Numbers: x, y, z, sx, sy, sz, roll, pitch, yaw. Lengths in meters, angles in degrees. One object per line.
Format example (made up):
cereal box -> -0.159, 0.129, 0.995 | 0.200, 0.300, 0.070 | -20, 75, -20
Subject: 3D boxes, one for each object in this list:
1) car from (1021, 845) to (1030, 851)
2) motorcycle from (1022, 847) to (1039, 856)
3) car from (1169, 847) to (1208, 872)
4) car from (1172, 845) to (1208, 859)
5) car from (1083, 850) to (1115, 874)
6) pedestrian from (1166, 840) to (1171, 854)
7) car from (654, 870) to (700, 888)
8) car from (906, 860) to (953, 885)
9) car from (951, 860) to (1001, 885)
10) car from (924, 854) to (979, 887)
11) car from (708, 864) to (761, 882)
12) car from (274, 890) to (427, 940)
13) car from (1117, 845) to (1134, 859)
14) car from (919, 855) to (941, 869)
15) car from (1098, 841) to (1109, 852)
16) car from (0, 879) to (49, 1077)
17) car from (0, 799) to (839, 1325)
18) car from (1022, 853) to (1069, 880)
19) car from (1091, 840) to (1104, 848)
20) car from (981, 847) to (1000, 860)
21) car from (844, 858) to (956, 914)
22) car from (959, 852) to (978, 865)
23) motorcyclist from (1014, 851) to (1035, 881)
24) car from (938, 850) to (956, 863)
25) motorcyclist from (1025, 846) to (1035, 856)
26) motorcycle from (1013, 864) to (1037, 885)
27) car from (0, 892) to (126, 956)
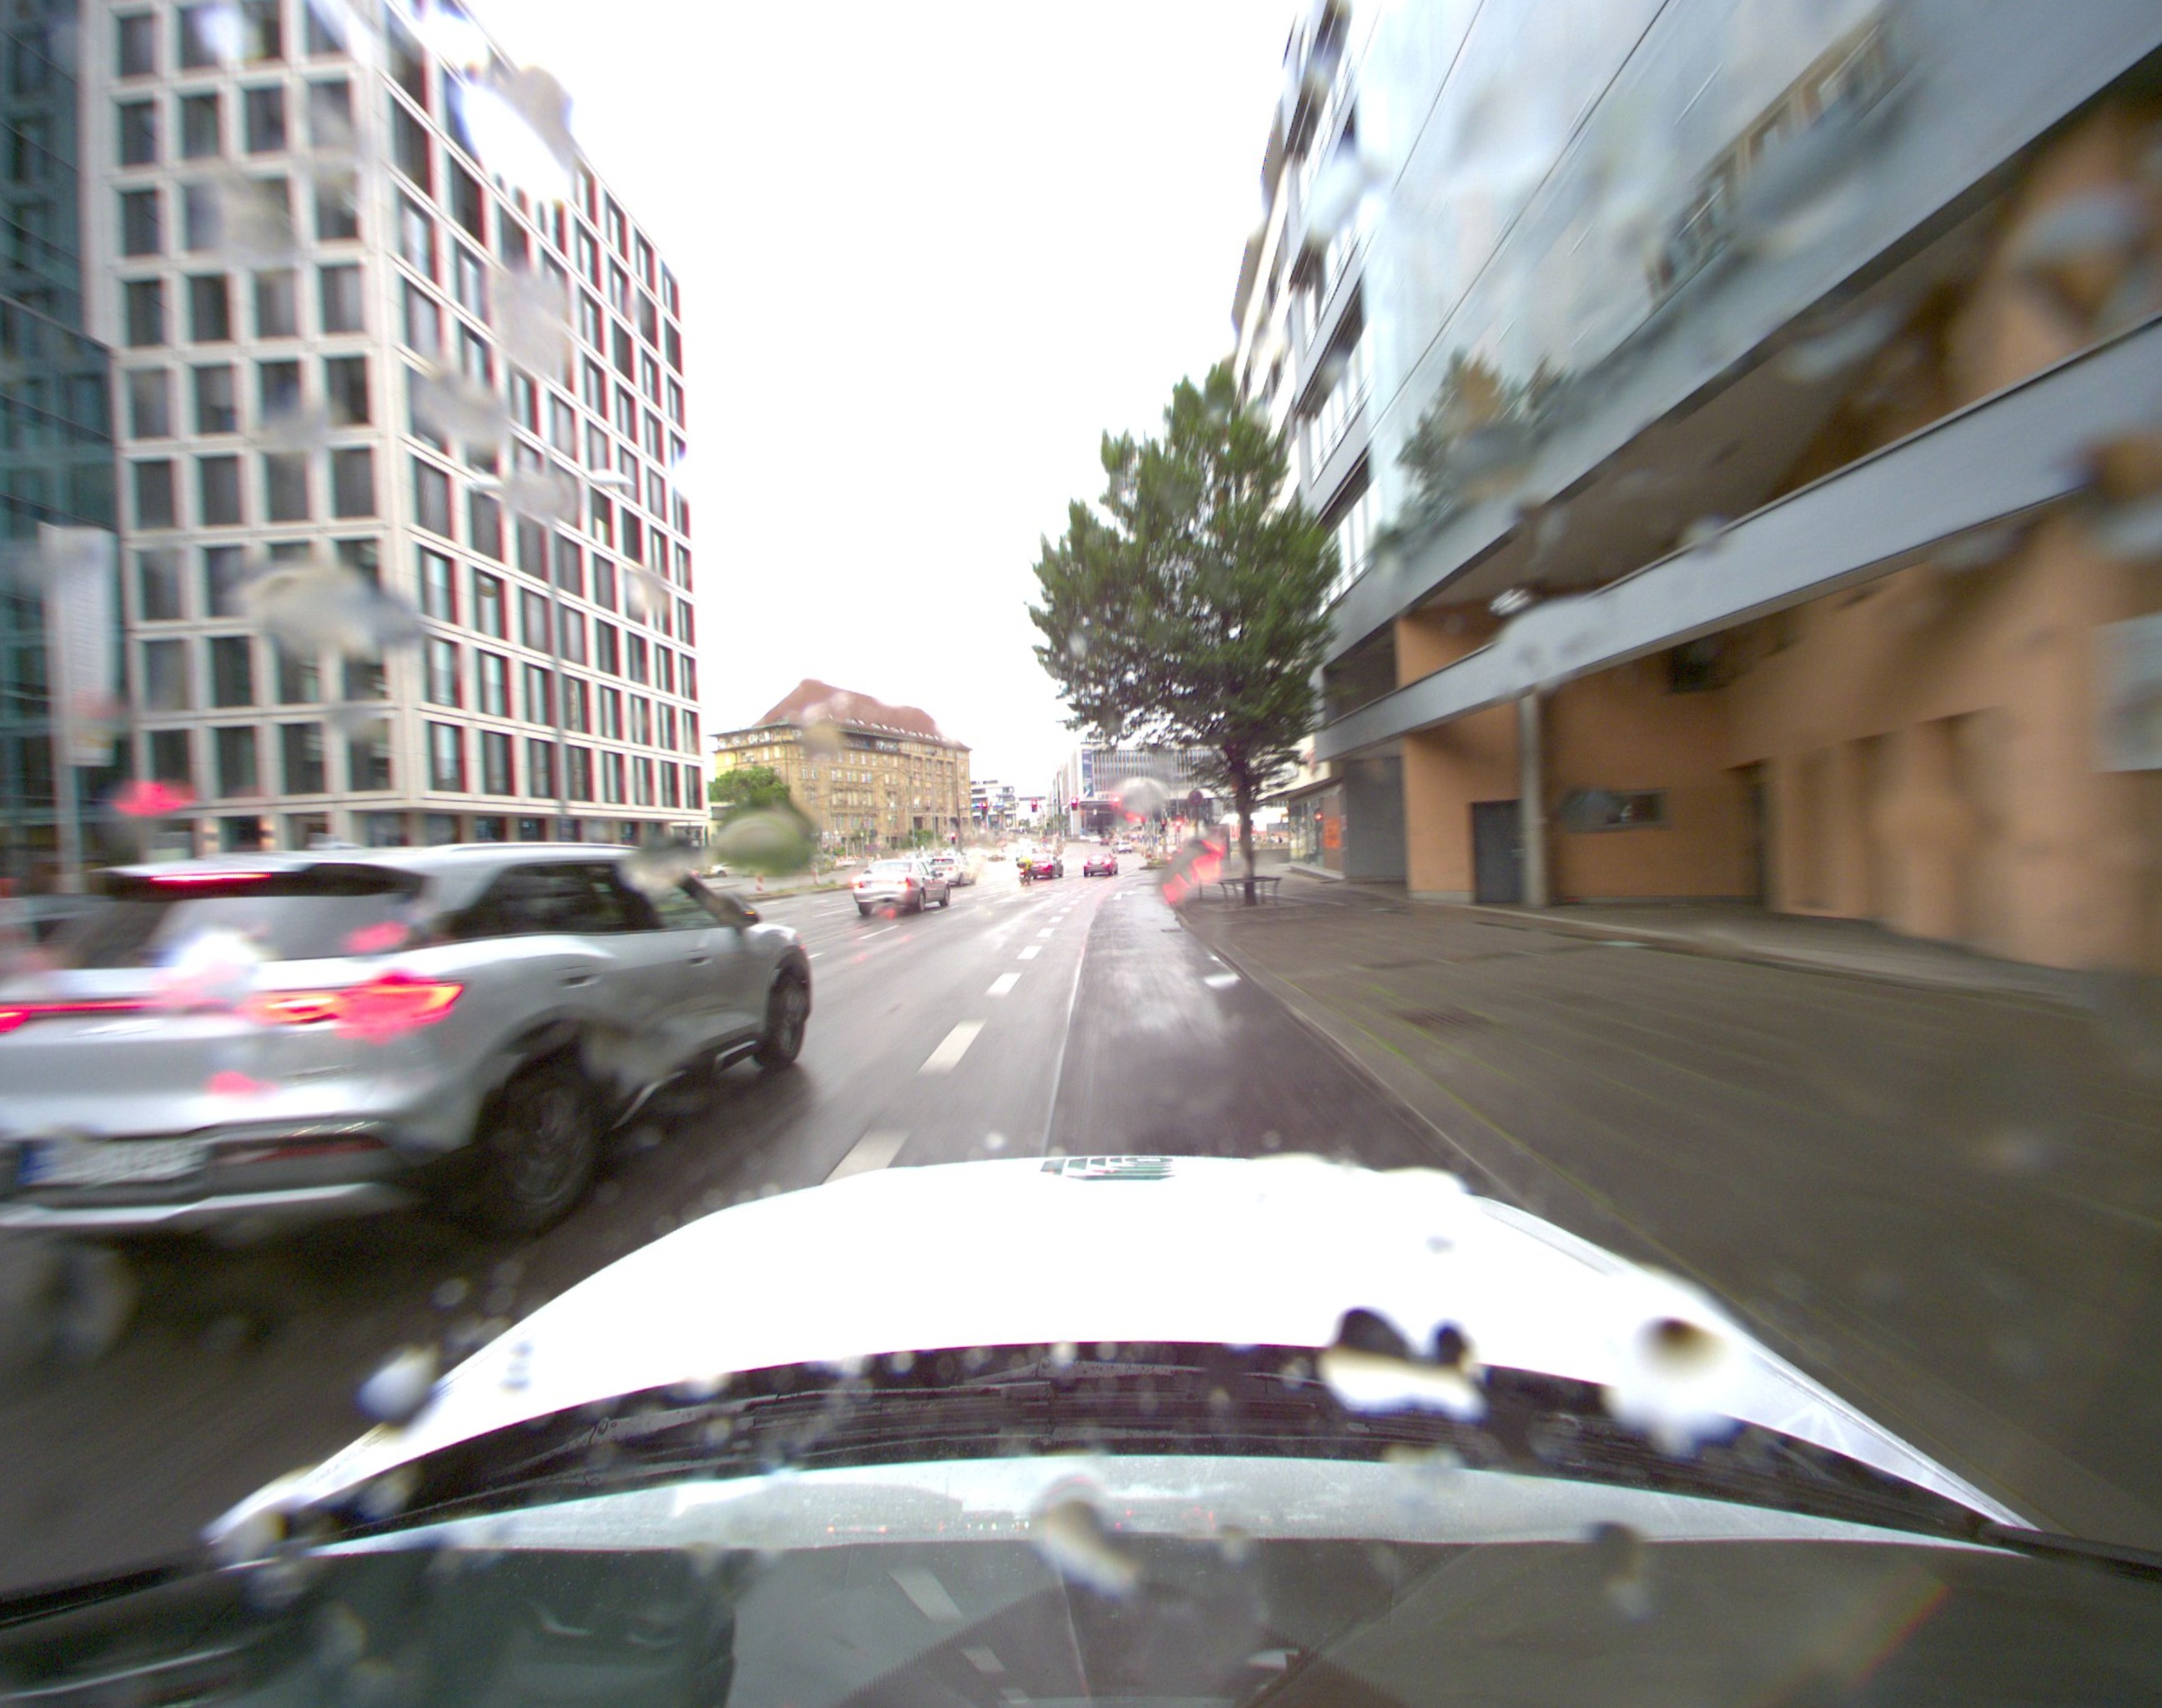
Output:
car -> -12.516, -1.386, 183.702 | 1.760, 1.260, 4.196 | -1, -1, 2
motorcycle -> -6.420, -0.256, 103.567 | 0.840, 1.108, 2.156 | -2, -1, 37
car -> 7.057, 0.378, 53.269 | 1.876, 1.544, 4.011 | -1, -1, 17
car -> 13.039, -0.212, 97.452 | 3.958, 1.640, 2.007 | -1, -1, 14
car -> 1.193, 0.485, 51.825 | 1.775, 1.402, 4.492 | -1, 1, 5
pedestrian -> 12.382, -0.979, 115.040 | 0.363, 1.898, 0.570 | 0, -2, -32
car -> -35.580, 2.210, 71.769 | 3.949, 1.596, 1.685 | -2, -1, 29
car -> -9.028, 1.096, 48.948 | 1.775, 1.373, 3.998 | -1, -1, 4
car -> -7.034, 1.222, 54.854 | 1.769, 1.600, 4.091 | -1, -1, 18
car -> -6.719, 0.838, 42.624 | 1.723, 1.616, 4.009 | -1, -1, 8
car -> -33.094, 1.806, 77.929 | 4.388, 1.662, 1.990 | -1, -1, -15
car -> -25.652, 2.094, 28.798 | 1.691, 1.424, 3.957 | -3, -1, 2
car -> 5.868, -0.307, 107.766 | 1.726, 1.639, 3.426 | -1, 2, -7
car -> -18.554, 1.002, 100.107 | 1.691, 1.519, 3.876 | -3, -1, 2
car -> 4.540, -1.429, 162.405 | 1.988, 2.014, 3.998 | -1, -1, -1
car -> -9.331, 0.940, 4.194 | 1.824, 1.521, 4.802 | -1, -1, 1
car -> -3.005, 0.707, 4.699 | 1.801, 1.661, 4.173 | -1, -1, 2
car -> -2.103, 0.764, 49.336 | 1.876, 1.515, 5.014 | -1, -1, 9
car -> 3.892, -2.383, 194.095 | 1.999, 1.816, 3.975 | -1, -1, -18
car -> -11.212, -0.033, 100.955 | 1.815, 1.486, 3.999 | -2, 0, -1
car -> -4.932, 0.845, 22.843 | 1.724, 1.404, 4.390 | -1, -1, 6
car -> -14.513, 0.641, 105.179 | 1.796, 1.574, 4.074 | -1, -1, 0
motorcyclist -> -2.850, 0.601, 41.284 | 0.937, 1.475, 1.101 | -1, -1, 3
car -> -18.139, 0.342, 110.480 | 1.692, 1.574, 3.999 | -1, -1, 0
motorcyclist -> -6.474, -0.383, 103.486 | 0.838, 1.358, 0.954 | -2, -2, 38
motorcycle -> -2.818, 1.039, 41.209 | 0.938, 0.989, 2.296 | -1, -1, 3
car -> -26.162, 1.735, 19.545 | 1.691, 1.424, 3.957 | -3, -1, 2
